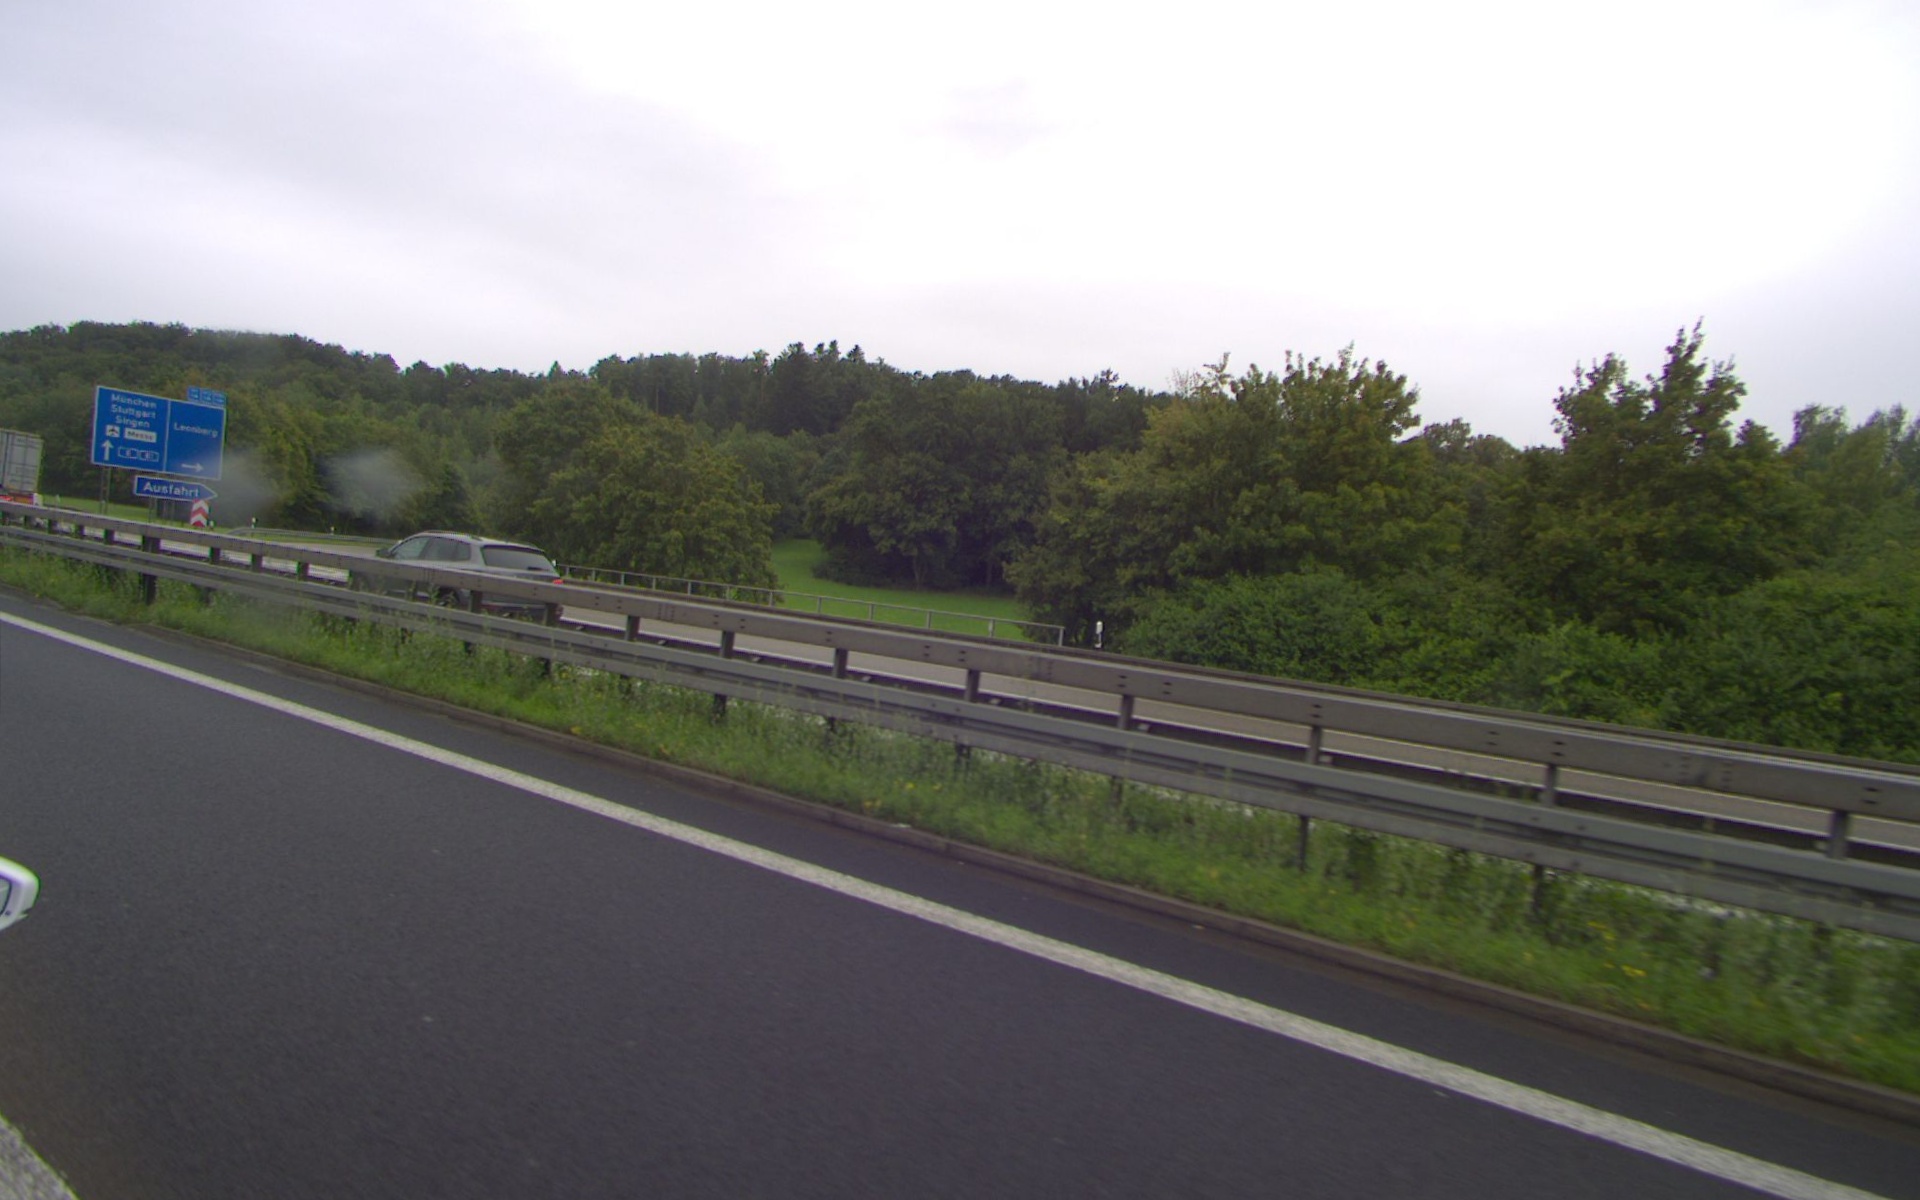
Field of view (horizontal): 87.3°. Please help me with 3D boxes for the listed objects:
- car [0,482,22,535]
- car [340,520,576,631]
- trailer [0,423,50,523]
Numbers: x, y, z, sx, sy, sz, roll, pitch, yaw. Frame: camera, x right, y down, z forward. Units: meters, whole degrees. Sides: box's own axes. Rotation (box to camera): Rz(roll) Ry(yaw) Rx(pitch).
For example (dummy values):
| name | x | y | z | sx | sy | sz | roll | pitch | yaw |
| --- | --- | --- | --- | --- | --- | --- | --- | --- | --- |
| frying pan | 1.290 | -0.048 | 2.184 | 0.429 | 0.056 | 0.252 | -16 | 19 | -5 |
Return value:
| name | x | y | z | sx | sy | sz | roll | pitch | yaw |
| --- | --- | --- | --- | --- | --- | --- | --- | --- | --- |
| car | -32.855 | -3.197 | 32.995 | 4.566 | 1.629 | 1.772 | 6 | -1 | 31 |
| car | -8.420 | -0.430 | 16.769 | 4.060 | 1.400 | 1.667 | 7 | 1 | 34 |
| trailer | -44.957 | -5.937 | 45.390 | 12.290 | 3.942 | 2.606 | 6 | 0 | 34 |
